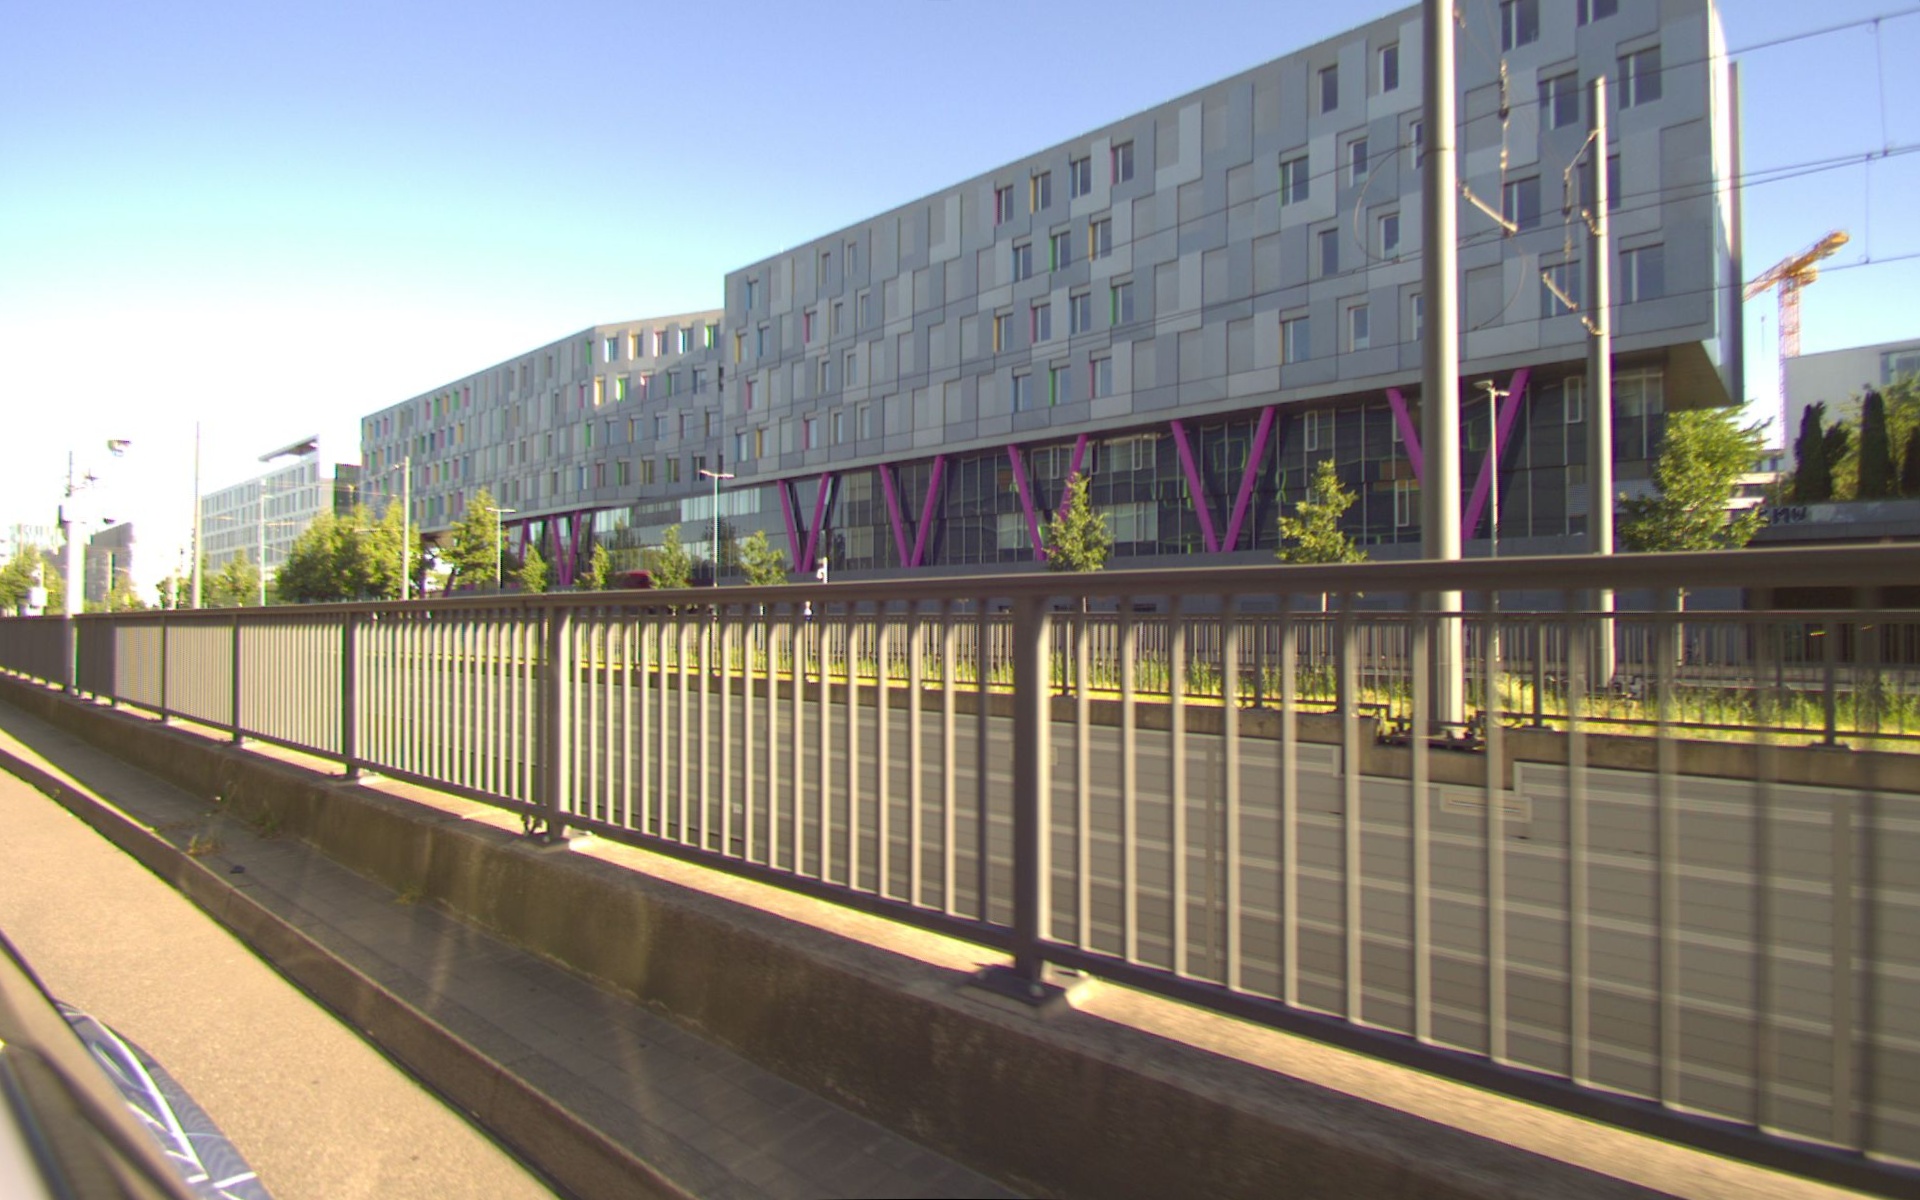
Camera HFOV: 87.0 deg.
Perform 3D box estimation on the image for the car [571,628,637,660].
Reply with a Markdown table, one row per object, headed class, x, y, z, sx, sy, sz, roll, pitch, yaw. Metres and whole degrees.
| class | x | y | z | sx | sy | sz | roll | pitch | yaw |
| --- | --- | --- | --- | --- | --- | --- | --- | --- | --- |
| car | -21.356 | 2.646 | 60.665 | 3.998 | 1.853 | 1.972 | -2 | -3 | 41 |
